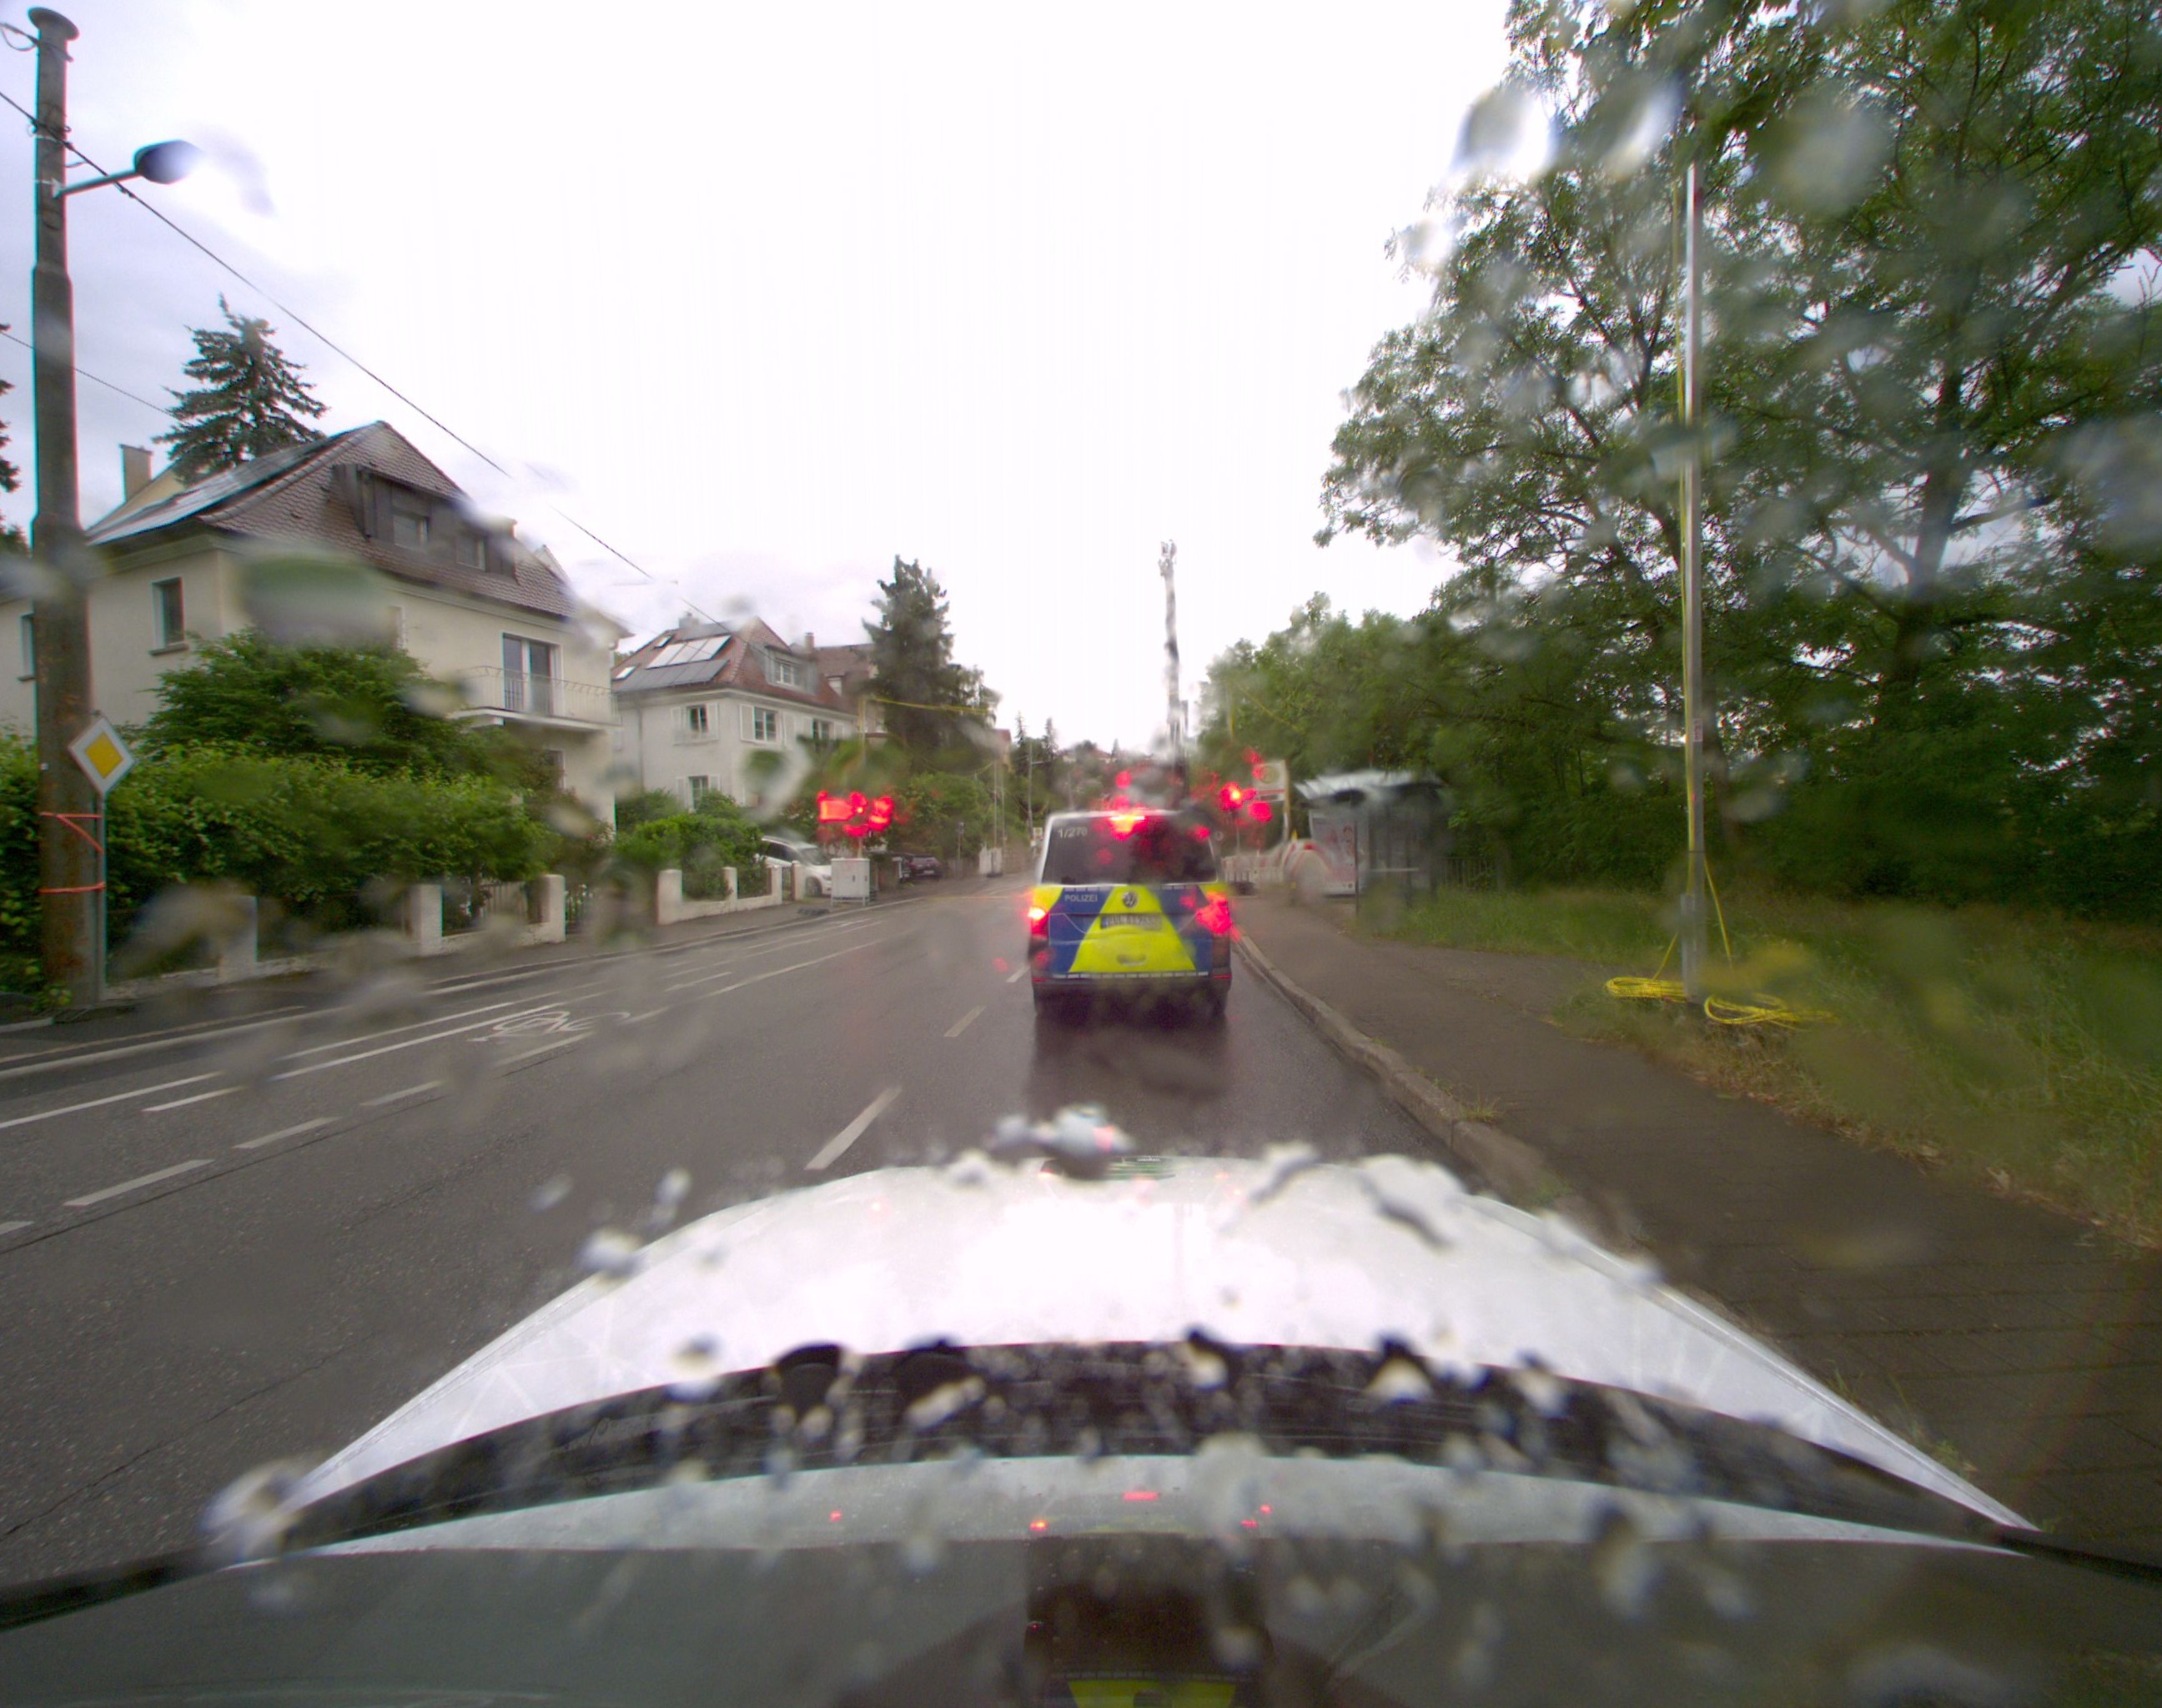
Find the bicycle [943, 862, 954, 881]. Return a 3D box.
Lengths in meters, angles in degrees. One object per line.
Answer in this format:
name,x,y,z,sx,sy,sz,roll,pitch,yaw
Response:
bicycle,-6.502,0.827,39.879,0.463,0.897,1.627,-1,0,-12

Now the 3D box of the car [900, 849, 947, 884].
car,-7.456,0.557,38.289,1.770,1.486,3.720,0,1,-17

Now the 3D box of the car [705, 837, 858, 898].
car,-10.282,0.459,28.046,4.599,2.007,1.907,0,0,13

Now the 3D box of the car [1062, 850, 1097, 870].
car,-0.073,0.496,64.521,1.841,1.527,4.834,-1,-1,11

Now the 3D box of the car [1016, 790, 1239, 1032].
car,0.459,0.483,8.930,1.886,2.050,4.002,0,0,2

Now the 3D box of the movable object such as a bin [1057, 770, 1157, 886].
movable object such as a bin,1.104,-0.928,31.761,2.809,4.177,4.400,0,0,17
